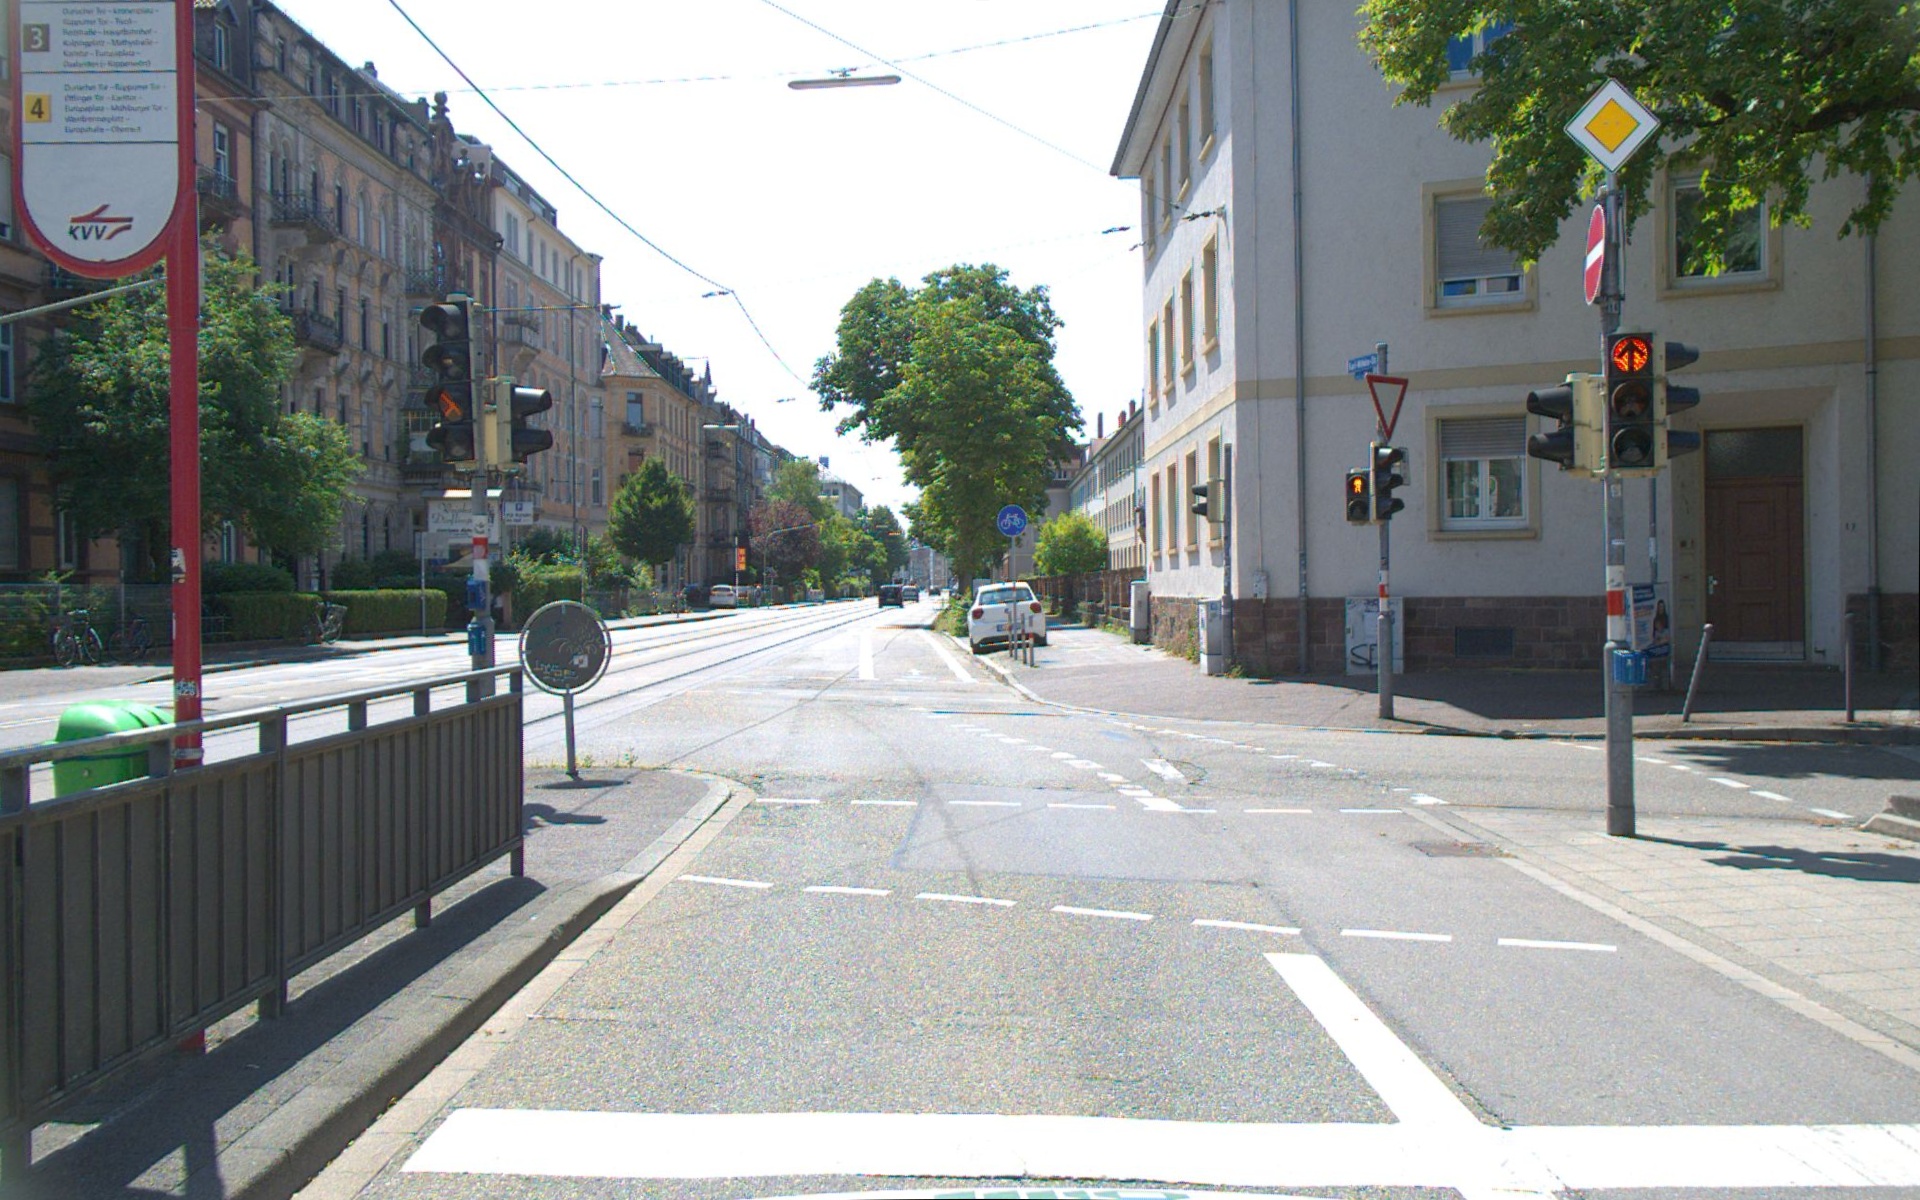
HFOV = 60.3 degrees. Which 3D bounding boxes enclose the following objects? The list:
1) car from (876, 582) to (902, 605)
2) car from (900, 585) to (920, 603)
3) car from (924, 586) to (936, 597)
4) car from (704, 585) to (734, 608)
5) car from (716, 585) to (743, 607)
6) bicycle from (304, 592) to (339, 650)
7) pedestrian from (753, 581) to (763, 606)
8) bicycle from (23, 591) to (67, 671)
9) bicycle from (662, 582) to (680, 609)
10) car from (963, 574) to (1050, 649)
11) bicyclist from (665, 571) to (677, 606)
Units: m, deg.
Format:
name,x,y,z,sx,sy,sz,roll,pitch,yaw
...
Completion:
name,x,y,z,sx,sy,sz,roll,pitch,yaw
car,-4.665,-0.427,108.998,1.493,1.469,3.364,-2,0,0
car,-4.545,-0.582,150.217,1.712,1.498,3.937,-4,0,-1
car,-4.391,-1.246,243.708,1.596,1.498,3.562,-4,0,-3
car,-16.822,-0.254,115.628,1.651,1.498,3.936,-4,0,-3
car,-17.251,-0.296,124.138,1.596,1.498,3.562,-4,0,-3
bicycle,-15.874,0.506,41.076,0.584,1.380,2.419,0,0,-26
pedestrian,-14.265,-0.477,116.818,0.664,1.758,0.677,0,0,-1
bicycle,-16.954,0.546,30.660,0.607,1.420,2.288,0,0,-26
bicycle,-15.203,-0.226,87.073,0.565,1.412,2.501,0,0,-1
car,1.011,0.238,37.663,1.712,1.498,3.937,-4,0,-1
bicyclist,-15.212,-0.606,87.098,0.531,1.794,0.498,0,0,-1
